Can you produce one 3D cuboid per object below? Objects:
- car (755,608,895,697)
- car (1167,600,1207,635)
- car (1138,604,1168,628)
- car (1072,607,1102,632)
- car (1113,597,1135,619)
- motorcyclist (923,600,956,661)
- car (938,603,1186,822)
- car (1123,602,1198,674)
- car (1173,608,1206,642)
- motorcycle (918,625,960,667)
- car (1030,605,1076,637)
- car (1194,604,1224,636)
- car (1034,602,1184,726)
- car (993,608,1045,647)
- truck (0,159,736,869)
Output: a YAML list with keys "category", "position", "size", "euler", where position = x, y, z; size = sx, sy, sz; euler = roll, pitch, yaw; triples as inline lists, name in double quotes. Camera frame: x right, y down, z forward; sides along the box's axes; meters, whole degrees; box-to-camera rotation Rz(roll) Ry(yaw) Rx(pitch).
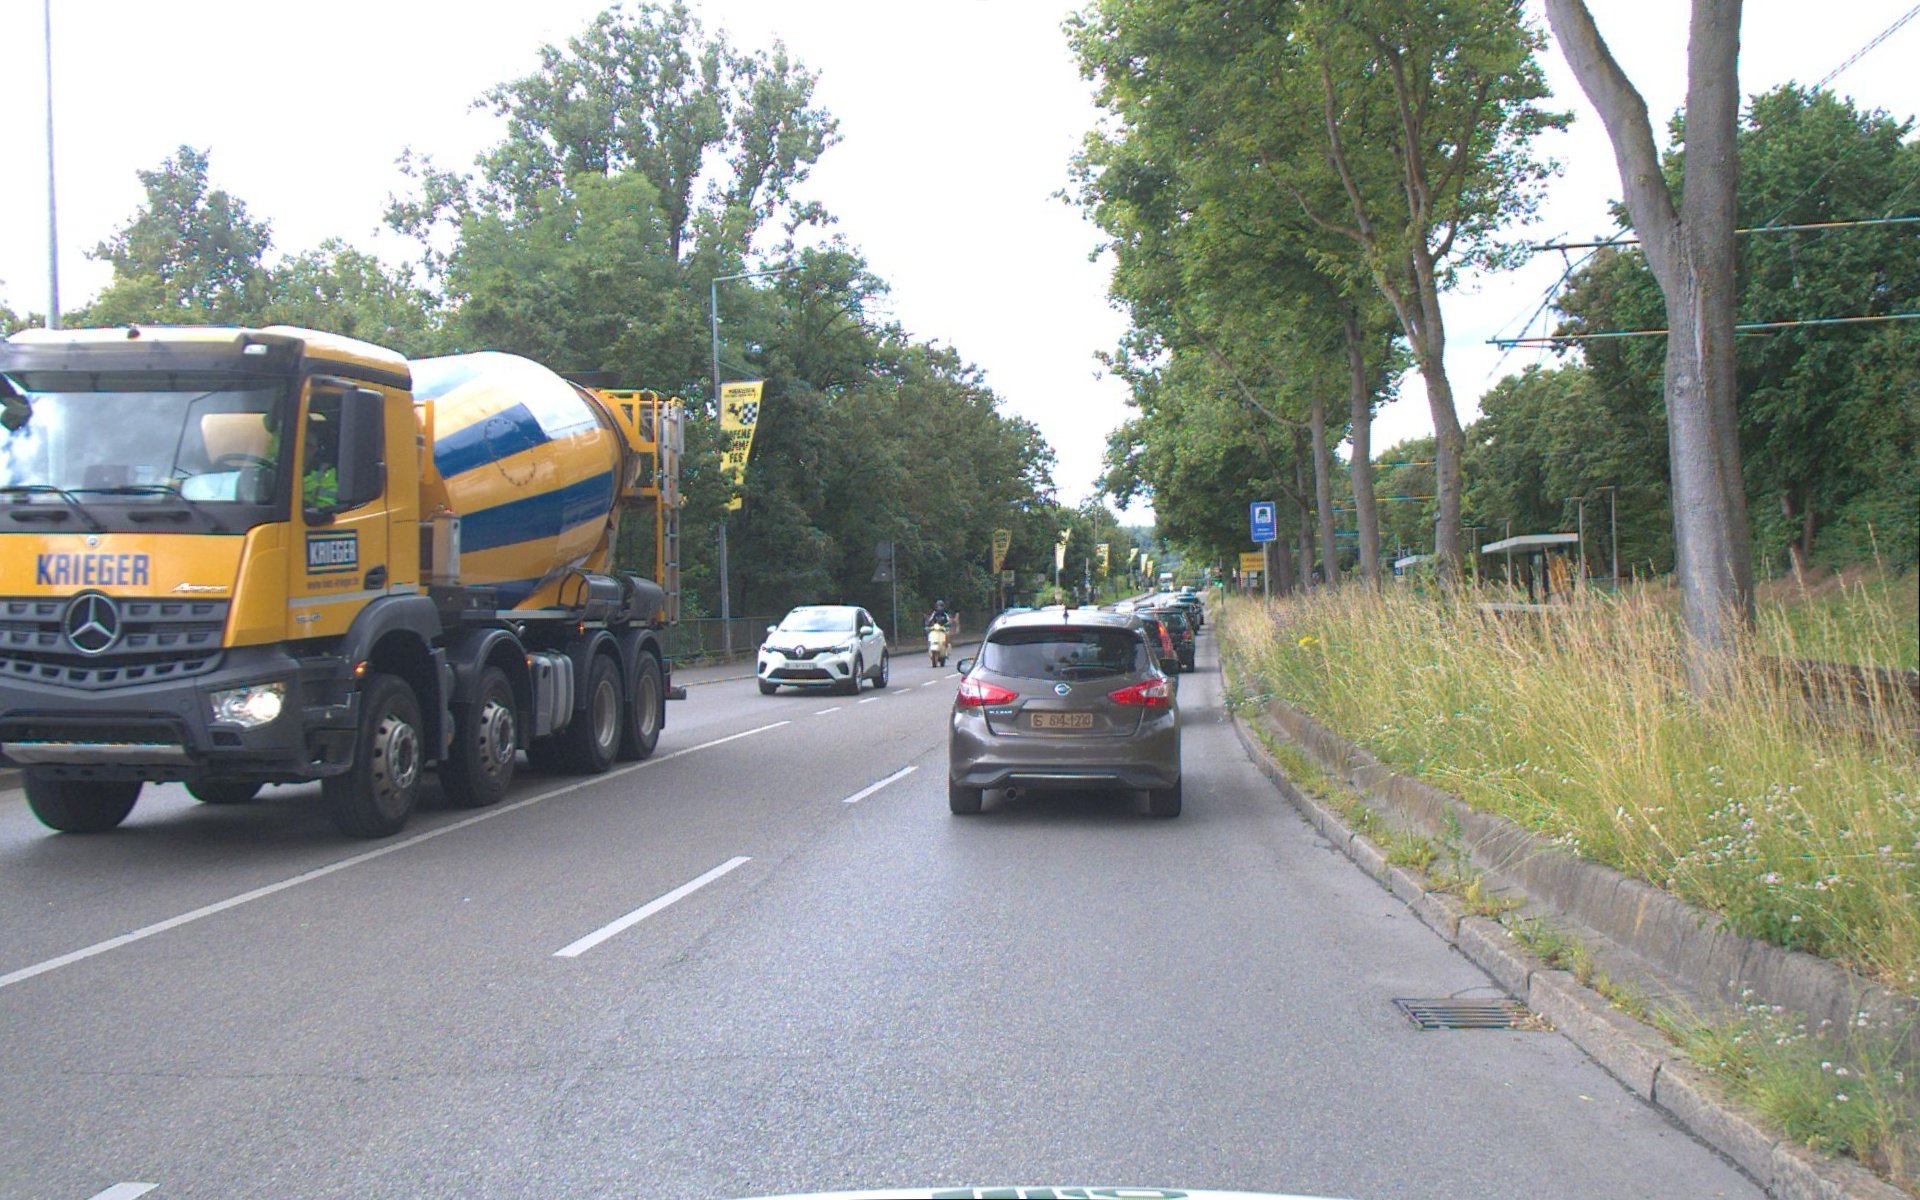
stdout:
- category: "car"
  position: [-2.394, 0.911, 30.215]
  size: [1.729, 1.505, 4.003]
  euler: [0, 0, 8]
- category: "car"
  position: [10.650, 0.823, 77.415]
  size: [1.766, 1.567, 4.003]
  euler: [0, -1, 8]
- category: "car"
  position: [13.212, 1.129, 113.218]
  size: [1.812, 1.512, 4.424]
  euler: [-1, -2, 9]
- category: "car"
  position: [8.275, 1.290, 107.641]
  size: [1.715, 1.445, 4.002]
  euler: [-2, -3, 7]
- category: "car"
  position: [14.246, 0.715, 143.379]
  size: [1.682, 1.723, 3.728]
  euler: [-2, -3, 8]
- category: "motorcyclist"
  position: [-0.533, 0.788, 43.139]
  size: [0.729, 1.566, 0.791]
  euler: [-1, 0, 10]
- category: "car"
  position: [0.815, 0.840, 13.620]
  size: [1.737, 1.520, 4.001]
  euler: [0, -2, 3]
- category: "car"
  position: [4.690, 0.879, 38.997]
  size: [1.545, 1.565, 4.002]
  euler: [-2, -1, 4]
- category: "car"
  position: [12.548, 1.401, 90.472]
  size: [1.682, 1.723, 4.002]
  euler: [-2, -3, 8]
- category: "motorcycle"
  position: [-0.537, 1.183, 43.104]
  size: [0.729, 1.051, 1.890]
  euler: [-1, 0, 10]
- category: "car"
  position: [4.565, 1.025, 80.931]
  size: [1.779, 1.488, 4.003]
  euler: [-2, 0, 9]
- category: "car"
  position: [16.346, 1.290, 108.548]
  size: [1.850, 2.049, 4.003]
  euler: [-1, -1, 9]
- category: "car"
  position: [2.027, 0.883, 23.526]
  size: [1.853, 1.602, 4.000]
  euler: [0, -2, 1]
- category: "car"
  position: [2.448, 1.155, 67.945]
  size: [1.684, 1.467, 4.002]
  euler: [-2, -3, 8]
- category: "truck"
  position: [-4.506, -0.445, 14.496]
  size: [2.598, 4.008, 10.118]
  euler: [0, -1, 7]
